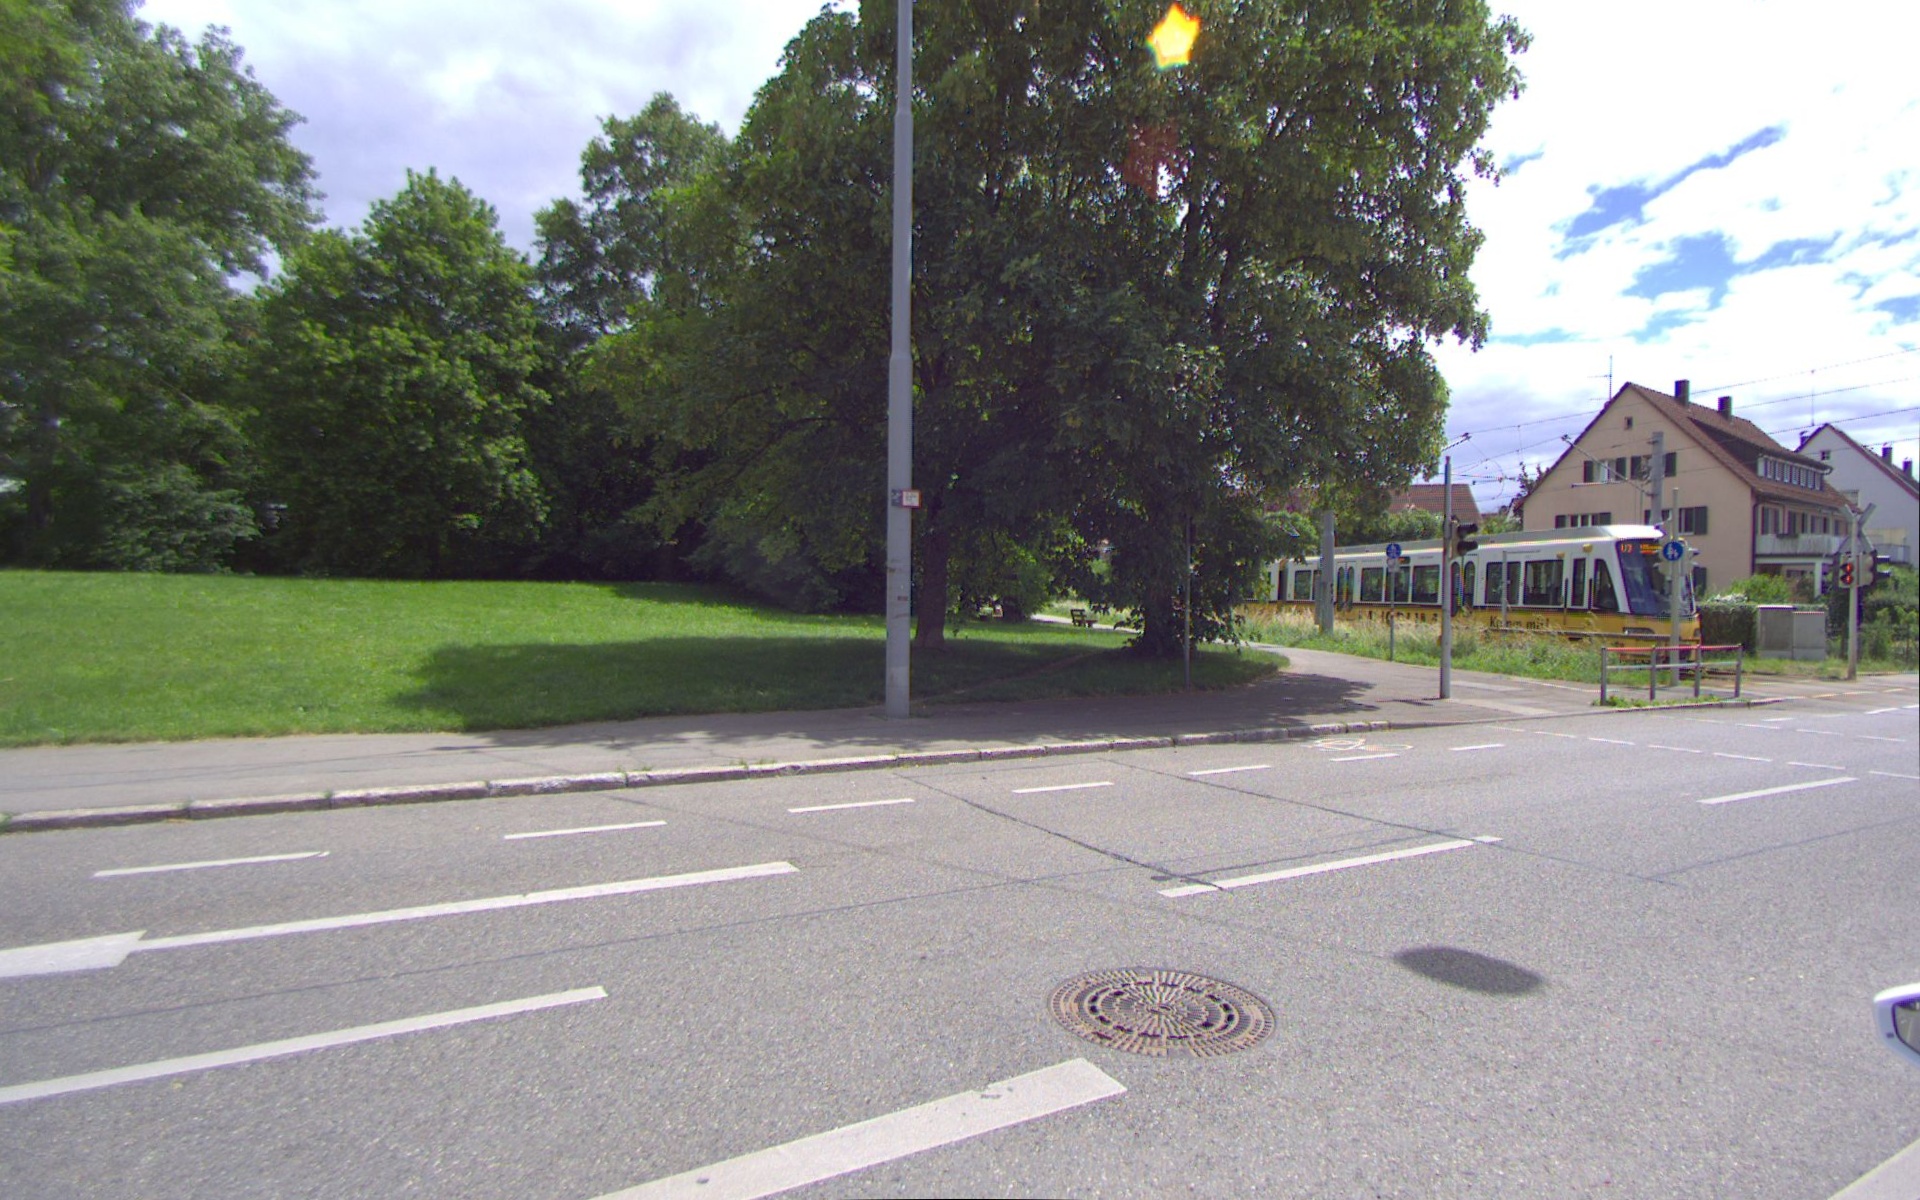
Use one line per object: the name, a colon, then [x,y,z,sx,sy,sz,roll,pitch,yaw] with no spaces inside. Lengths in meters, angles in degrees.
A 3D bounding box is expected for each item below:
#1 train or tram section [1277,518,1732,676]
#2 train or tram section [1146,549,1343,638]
train or tram section: [16.010,-0.164,33.433,2.864,3.754,19.098,1,1,-6]
train or tram section: [13.915,-0.376,52.382,2.864,3.754,19.098,1,1,-6]
